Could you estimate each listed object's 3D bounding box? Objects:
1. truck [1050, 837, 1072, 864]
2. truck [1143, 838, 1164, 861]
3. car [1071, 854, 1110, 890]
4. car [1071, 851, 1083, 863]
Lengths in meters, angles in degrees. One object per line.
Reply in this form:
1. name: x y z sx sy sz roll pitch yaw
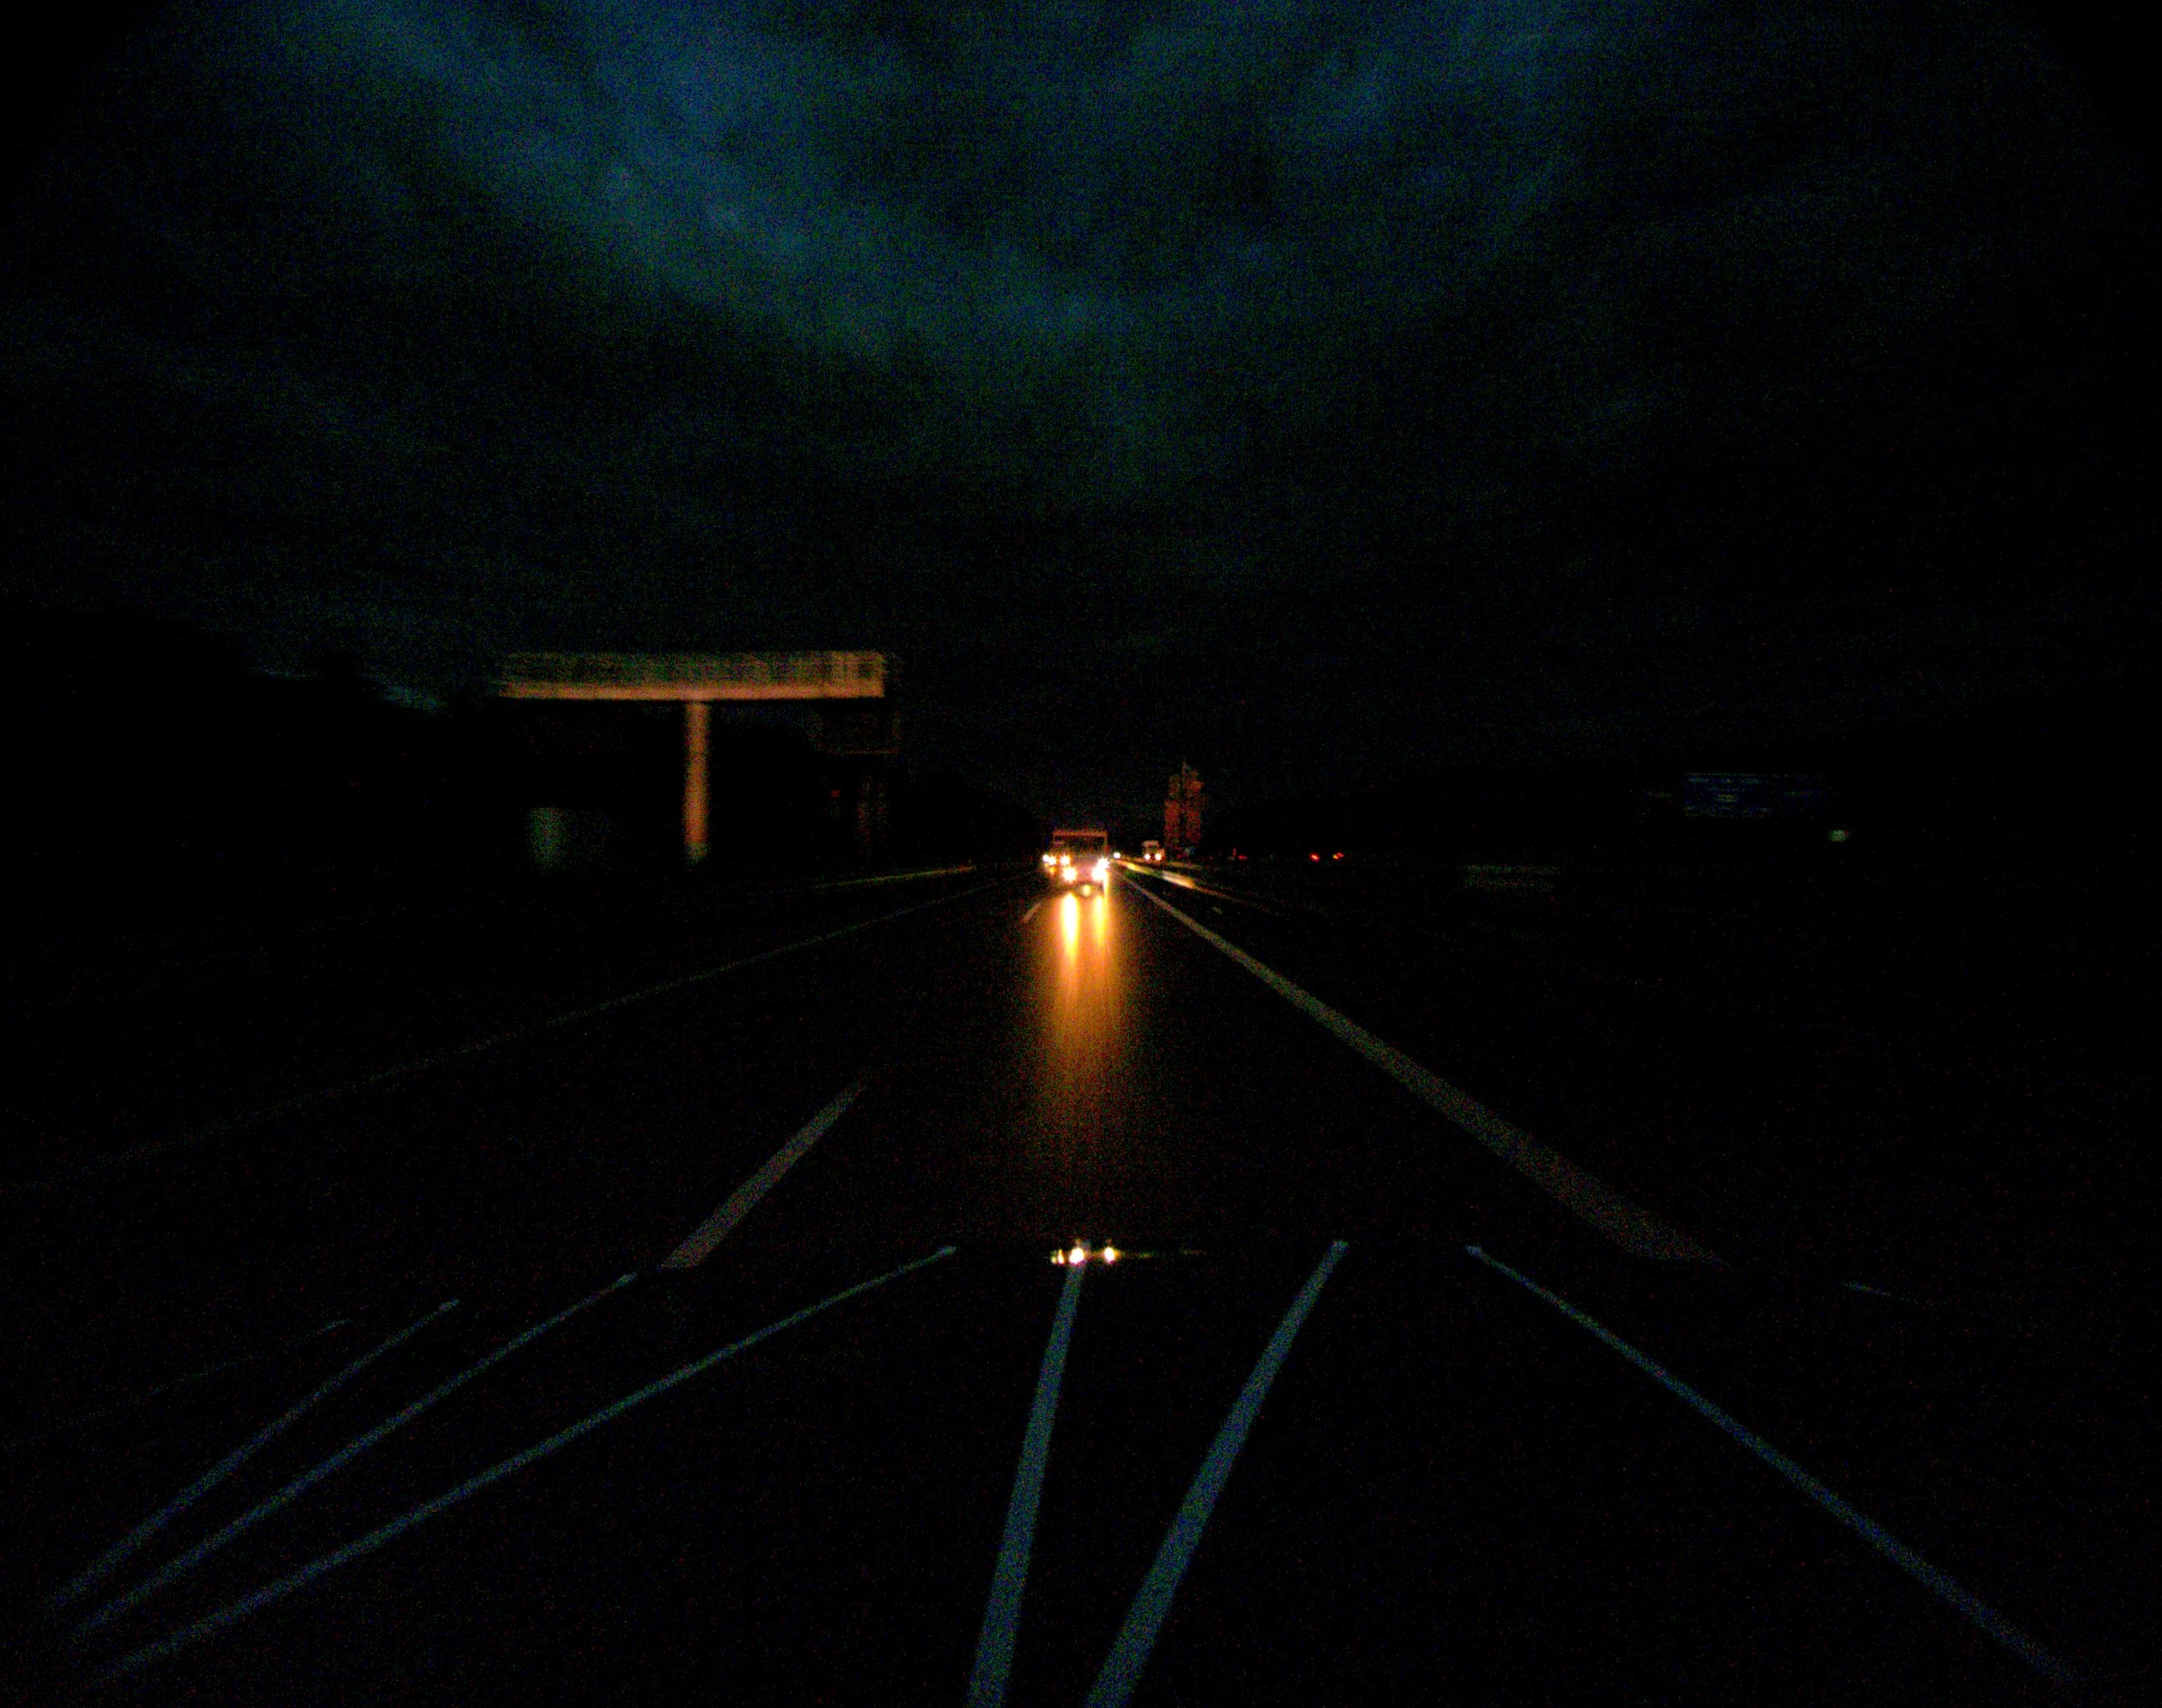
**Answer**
1. truck: -2.235 -0.328 87.933 2.274 2.954 6.631 -1 0 1
2. truck: 13.840 -0.848 145.382 3.046 4.276 9.890 1 0 1
3. car: 0.441 0.779 34.447 1.669 1.551 3.757 1 0 1
4. car: -0.776 0.552 141.172 1.999 2.002 3.999 1 0 -2
